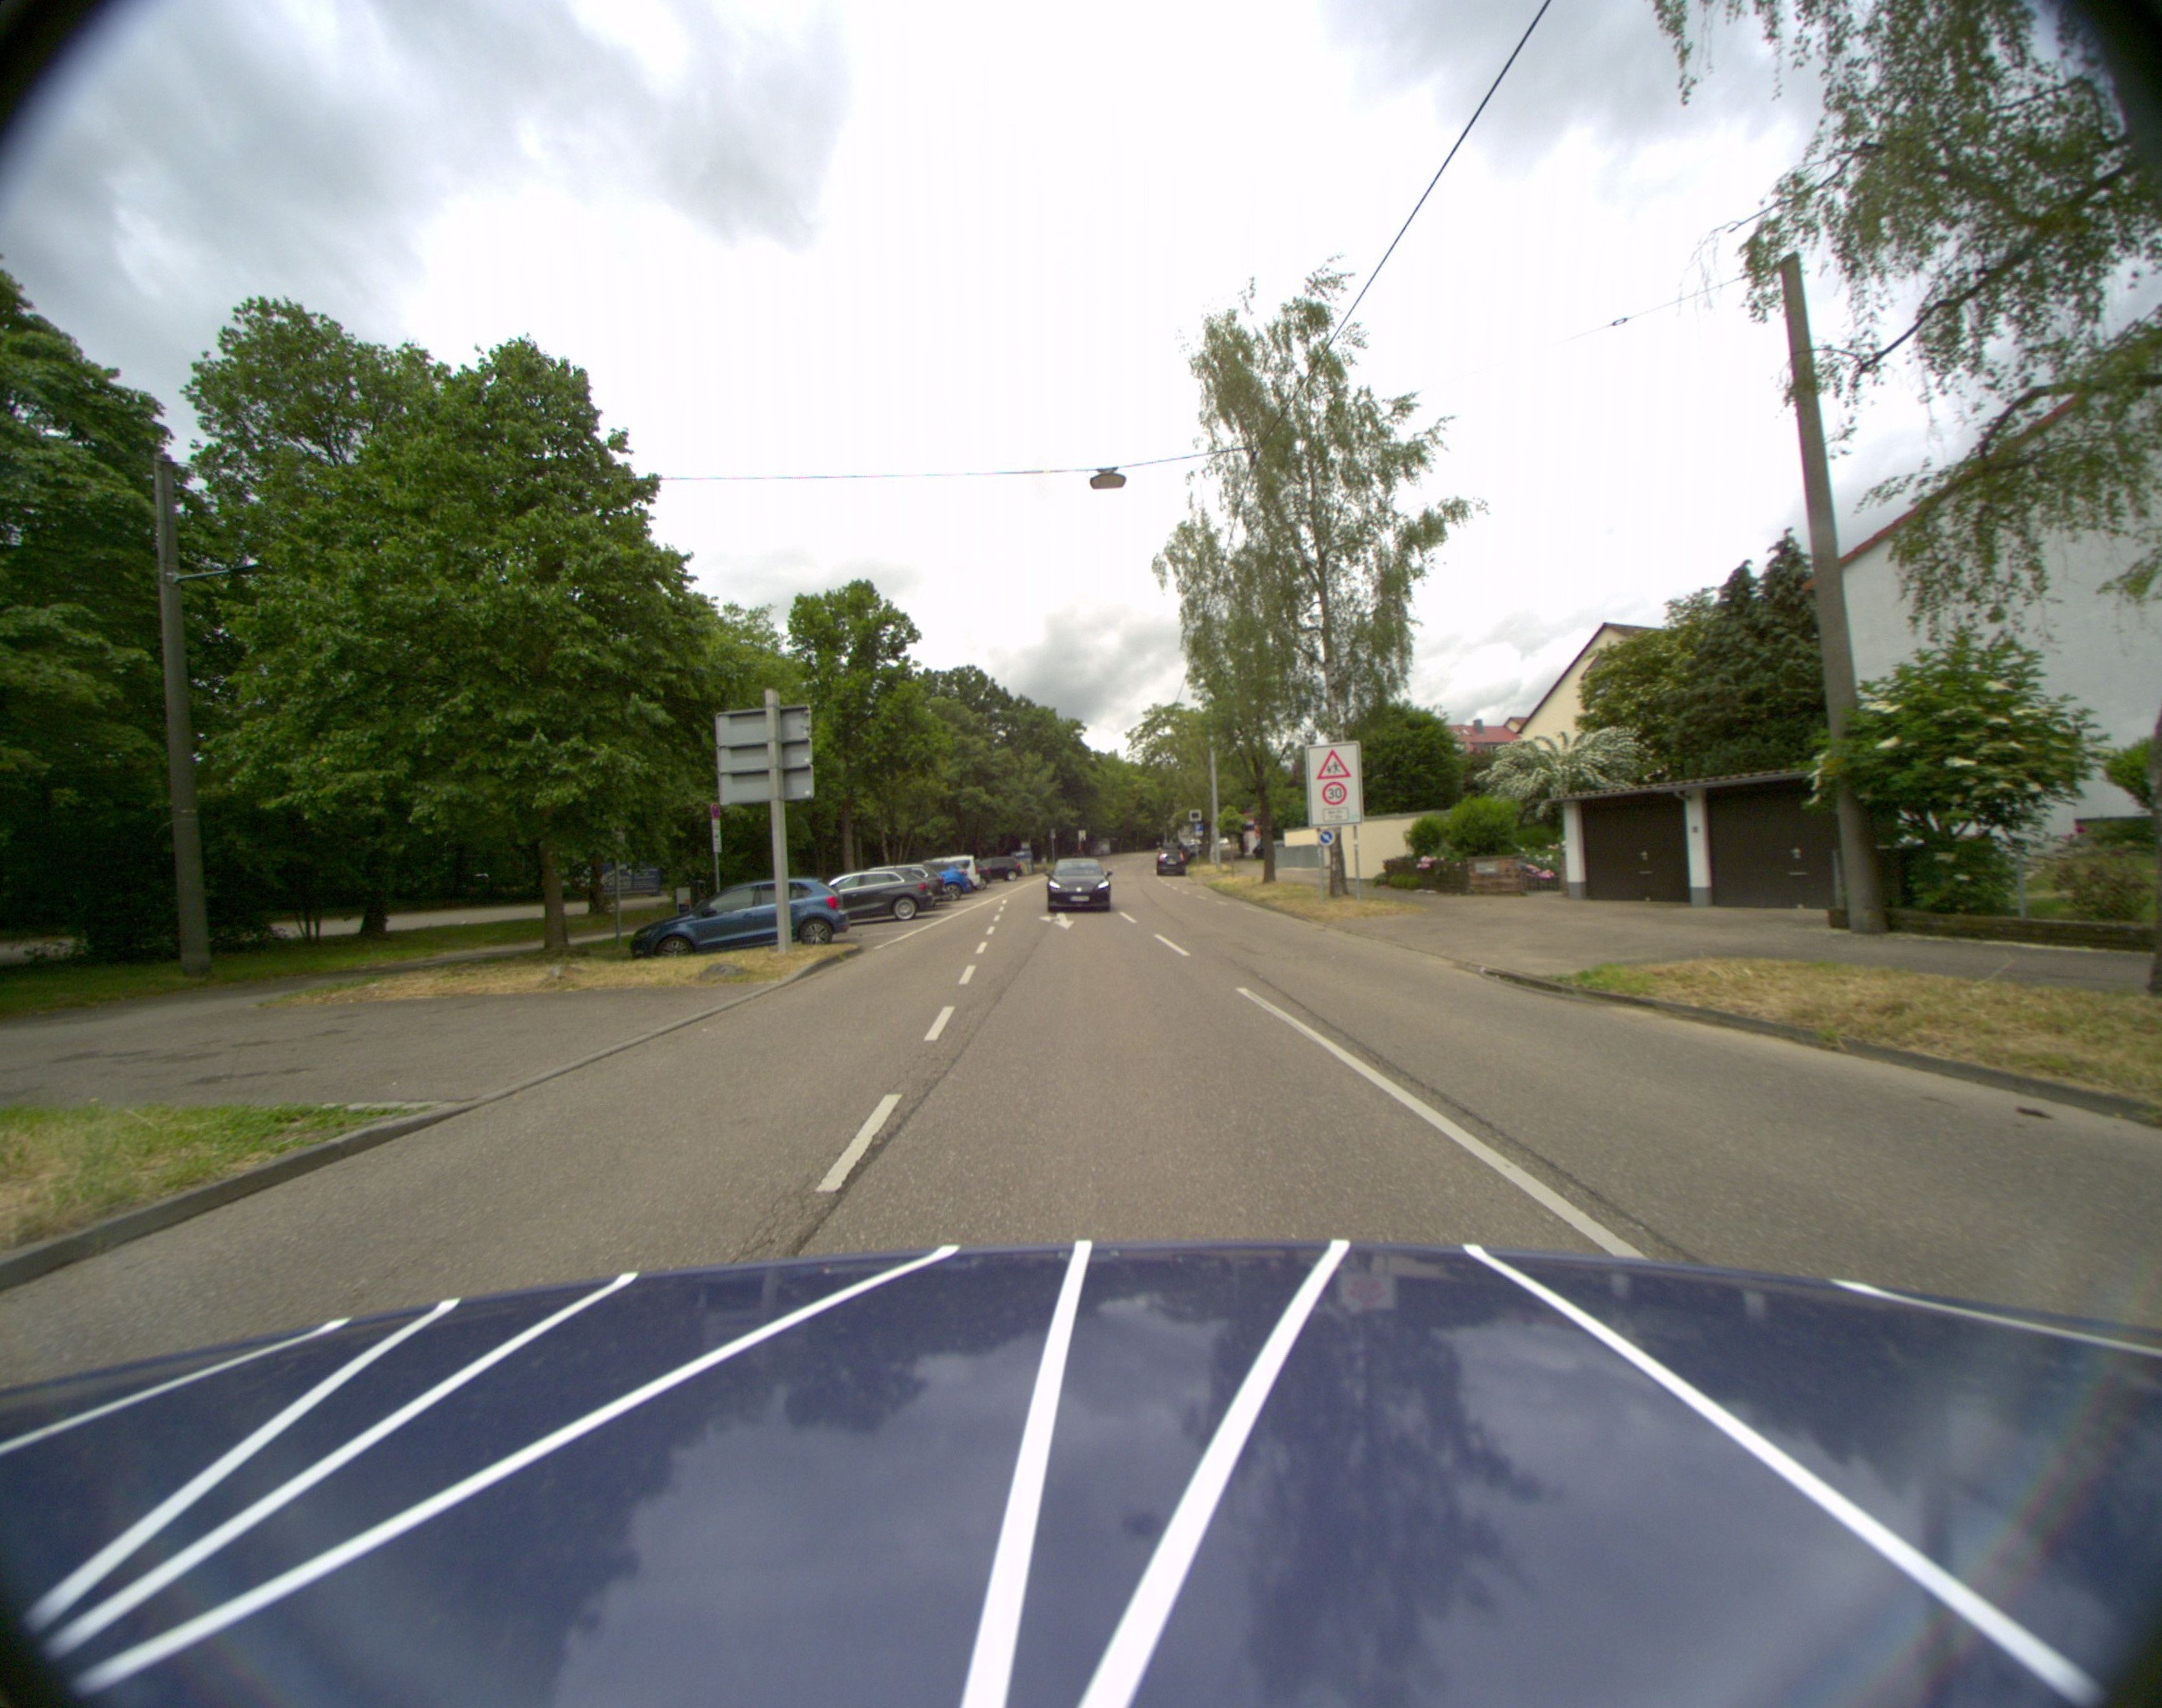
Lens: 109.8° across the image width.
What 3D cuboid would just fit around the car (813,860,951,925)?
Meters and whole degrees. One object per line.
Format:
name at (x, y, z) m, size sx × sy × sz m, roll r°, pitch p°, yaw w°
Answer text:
car at (-6.113, 1.126, 23.486) m, size 3.833 × 1.520 × 1.744 m, roll -6°, pitch 2°, yaw -16°

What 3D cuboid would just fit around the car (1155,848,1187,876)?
car at (5.573, 0.448, 47.305) m, size 1.808 × 1.554 × 4.267 m, roll 1°, pitch 2°, yaw 5°

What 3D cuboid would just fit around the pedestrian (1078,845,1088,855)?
pedestrian at (0.295, -0.447, 93.324) m, size 1.065 × 1.175 × 0.580 m, roll -2°, pitch 2°, yaw 12°

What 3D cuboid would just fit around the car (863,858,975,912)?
car at (-6.028, 1.092, 28.173) m, size 3.833 × 1.520 × 1.744 m, roll -6°, pitch 2°, yaw -16°

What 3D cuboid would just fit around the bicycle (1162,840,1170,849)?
bicycle at (12.343, -1.334, 110.297) m, size 0.647 × 1.230 × 1.879 m, roll -3°, pitch 1°, yaw 16°

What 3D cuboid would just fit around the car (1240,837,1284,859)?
car at (14.038, -0.491, 59.222) m, size 1.779 × 1.469 × 3.986 m, roll -6°, pitch 2°, yaw -10°

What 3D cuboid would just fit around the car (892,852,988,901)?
car at (-6.211, 0.935, 33.279) m, size 3.833 × 1.710 × 1.875 m, roll -6°, pitch 2°, yaw -16°

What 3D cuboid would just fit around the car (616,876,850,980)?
car at (-6.620, 1.348, 14.896) m, size 3.833 × 1.417 × 1.743 m, roll -6°, pitch 2°, yaw -19°

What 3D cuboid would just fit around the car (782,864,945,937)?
car at (-5.764, 1.181, 20.345) m, size 3.887 × 1.418 × 1.827 m, roll -6°, pitch 2°, yaw -16°

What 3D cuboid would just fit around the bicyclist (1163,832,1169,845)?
bicyclist at (12.441, -2.286, 110.843) m, size 0.646 × 1.769 × 0.628 m, roll -2°, pitch 2°, yaw 15°

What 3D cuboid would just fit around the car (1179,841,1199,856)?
car at (12.081, -0.611, 84.991) m, size 1.738 × 1.570 × 4.145 m, roll -1°, pitch 1°, yaw 14°

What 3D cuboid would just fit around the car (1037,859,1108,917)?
car at (-0.172, 0.939, 22.799) m, size 1.812 × 1.484 × 3.794 m, roll -3°, pitch 0°, yaw 3°

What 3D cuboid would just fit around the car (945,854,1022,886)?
car at (-5.679, 0.918, 44.184) m, size 4.002 × 1.406 × 2.055 m, roll -6°, pitch 1°, yaw -18°

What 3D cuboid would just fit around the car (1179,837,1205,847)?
car at (21.120, -2.265, 144.563) m, size 4.475 × 1.576 × 1.908 m, roll -4°, pitch 1°, yaw 14°

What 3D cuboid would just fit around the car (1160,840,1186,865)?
car at (7.794, -0.161, 63.831) m, size 1.861 × 1.898 × 5.085 m, roll -2°, pitch 1°, yaw 9°

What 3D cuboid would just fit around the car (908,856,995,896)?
car at (-6.148, 1.033, 36.038) m, size 3.832 × 1.459 × 1.745 m, roll -6°, pitch 1°, yaw -12°

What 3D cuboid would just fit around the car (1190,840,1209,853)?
car at (14.976, -0.941, 96.175) m, size 1.737 × 1.529 × 4.193 m, roll -1°, pitch 1°, yaw 17°
